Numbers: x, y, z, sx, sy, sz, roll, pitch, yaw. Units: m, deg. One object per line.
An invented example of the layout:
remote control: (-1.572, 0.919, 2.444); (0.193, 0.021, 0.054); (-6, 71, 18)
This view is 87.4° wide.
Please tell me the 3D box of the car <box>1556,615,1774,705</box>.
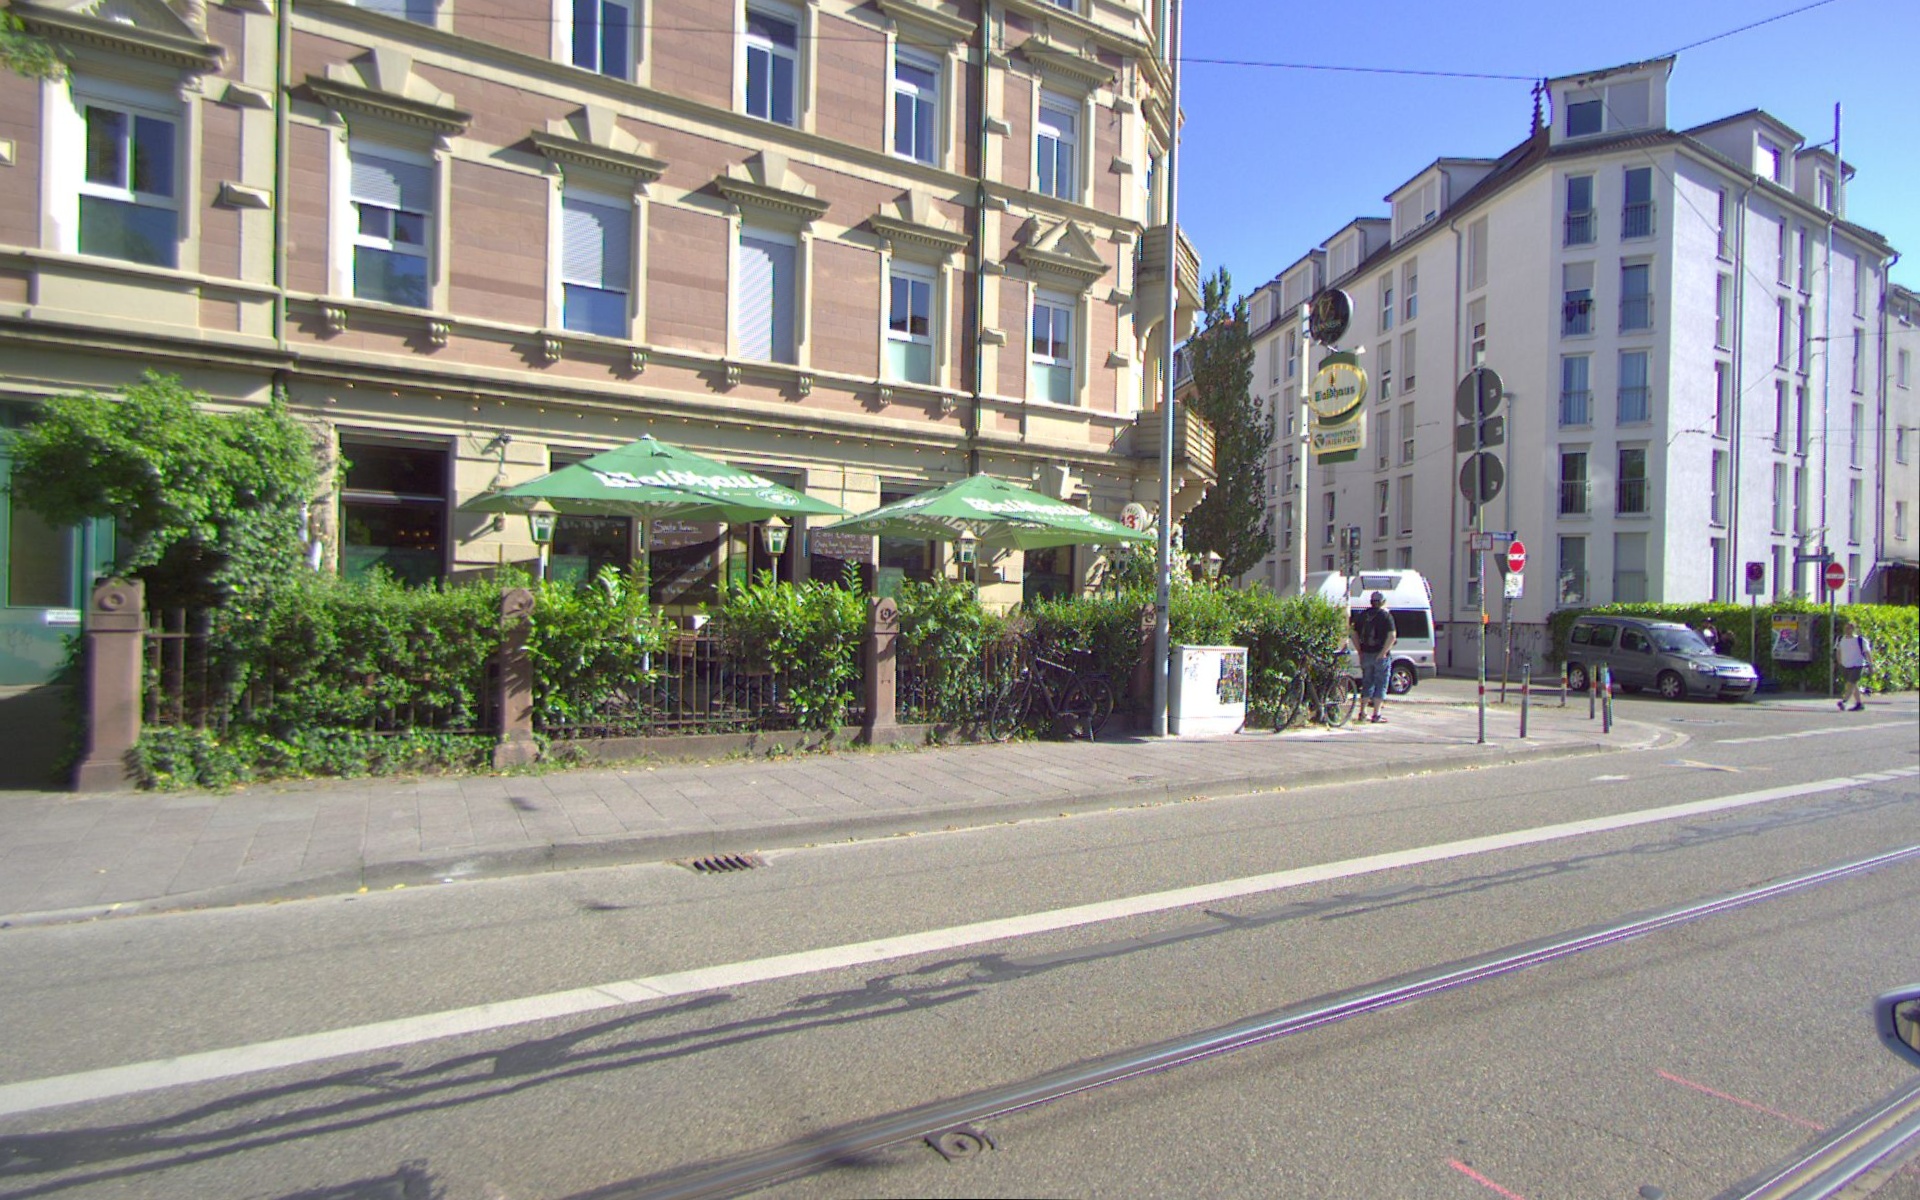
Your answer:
car: (15.943, 1.294, 22.986); (1.759, 1.831, 4.048); (2, -1, -9)

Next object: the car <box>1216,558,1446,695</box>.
car: (8.543, 0.643, 23.235); (4.702, 2.878, 1.888); (2, -1, -13)

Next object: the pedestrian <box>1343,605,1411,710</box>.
pedestrian: (6.947, 0.943, 16.756); (0.816, 1.676, 0.707); (2, -1, 2)

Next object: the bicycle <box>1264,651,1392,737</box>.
bicycle: (4.678, 1.165, 12.747); (1.757, 0.994, 0.524); (1, -1, -30)

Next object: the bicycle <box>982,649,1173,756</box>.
bicycle: (1.311, 1.071, 10.929); (2.197, 1.052, 0.511); (1, -1, -30)

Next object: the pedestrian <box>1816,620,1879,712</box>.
pedestrian: (17.634, 1.293, 19.962); (0.856, 1.791, 0.688); (1, -1, -29)

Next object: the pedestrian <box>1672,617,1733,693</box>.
pedestrian: (17.545, 1.292, 23.753); (0.743, 1.737, 0.806); (1, 1, -11)

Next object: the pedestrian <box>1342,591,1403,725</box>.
pedestrian: (5.706, 0.787, 13.895); (0.533, 1.805, 0.553); (1, -1, -33)

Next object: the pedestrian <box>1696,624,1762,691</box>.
pedestrian: (18.279, 1.356, 23.904); (0.743, 1.497, 0.955); (1, 1, -11)
